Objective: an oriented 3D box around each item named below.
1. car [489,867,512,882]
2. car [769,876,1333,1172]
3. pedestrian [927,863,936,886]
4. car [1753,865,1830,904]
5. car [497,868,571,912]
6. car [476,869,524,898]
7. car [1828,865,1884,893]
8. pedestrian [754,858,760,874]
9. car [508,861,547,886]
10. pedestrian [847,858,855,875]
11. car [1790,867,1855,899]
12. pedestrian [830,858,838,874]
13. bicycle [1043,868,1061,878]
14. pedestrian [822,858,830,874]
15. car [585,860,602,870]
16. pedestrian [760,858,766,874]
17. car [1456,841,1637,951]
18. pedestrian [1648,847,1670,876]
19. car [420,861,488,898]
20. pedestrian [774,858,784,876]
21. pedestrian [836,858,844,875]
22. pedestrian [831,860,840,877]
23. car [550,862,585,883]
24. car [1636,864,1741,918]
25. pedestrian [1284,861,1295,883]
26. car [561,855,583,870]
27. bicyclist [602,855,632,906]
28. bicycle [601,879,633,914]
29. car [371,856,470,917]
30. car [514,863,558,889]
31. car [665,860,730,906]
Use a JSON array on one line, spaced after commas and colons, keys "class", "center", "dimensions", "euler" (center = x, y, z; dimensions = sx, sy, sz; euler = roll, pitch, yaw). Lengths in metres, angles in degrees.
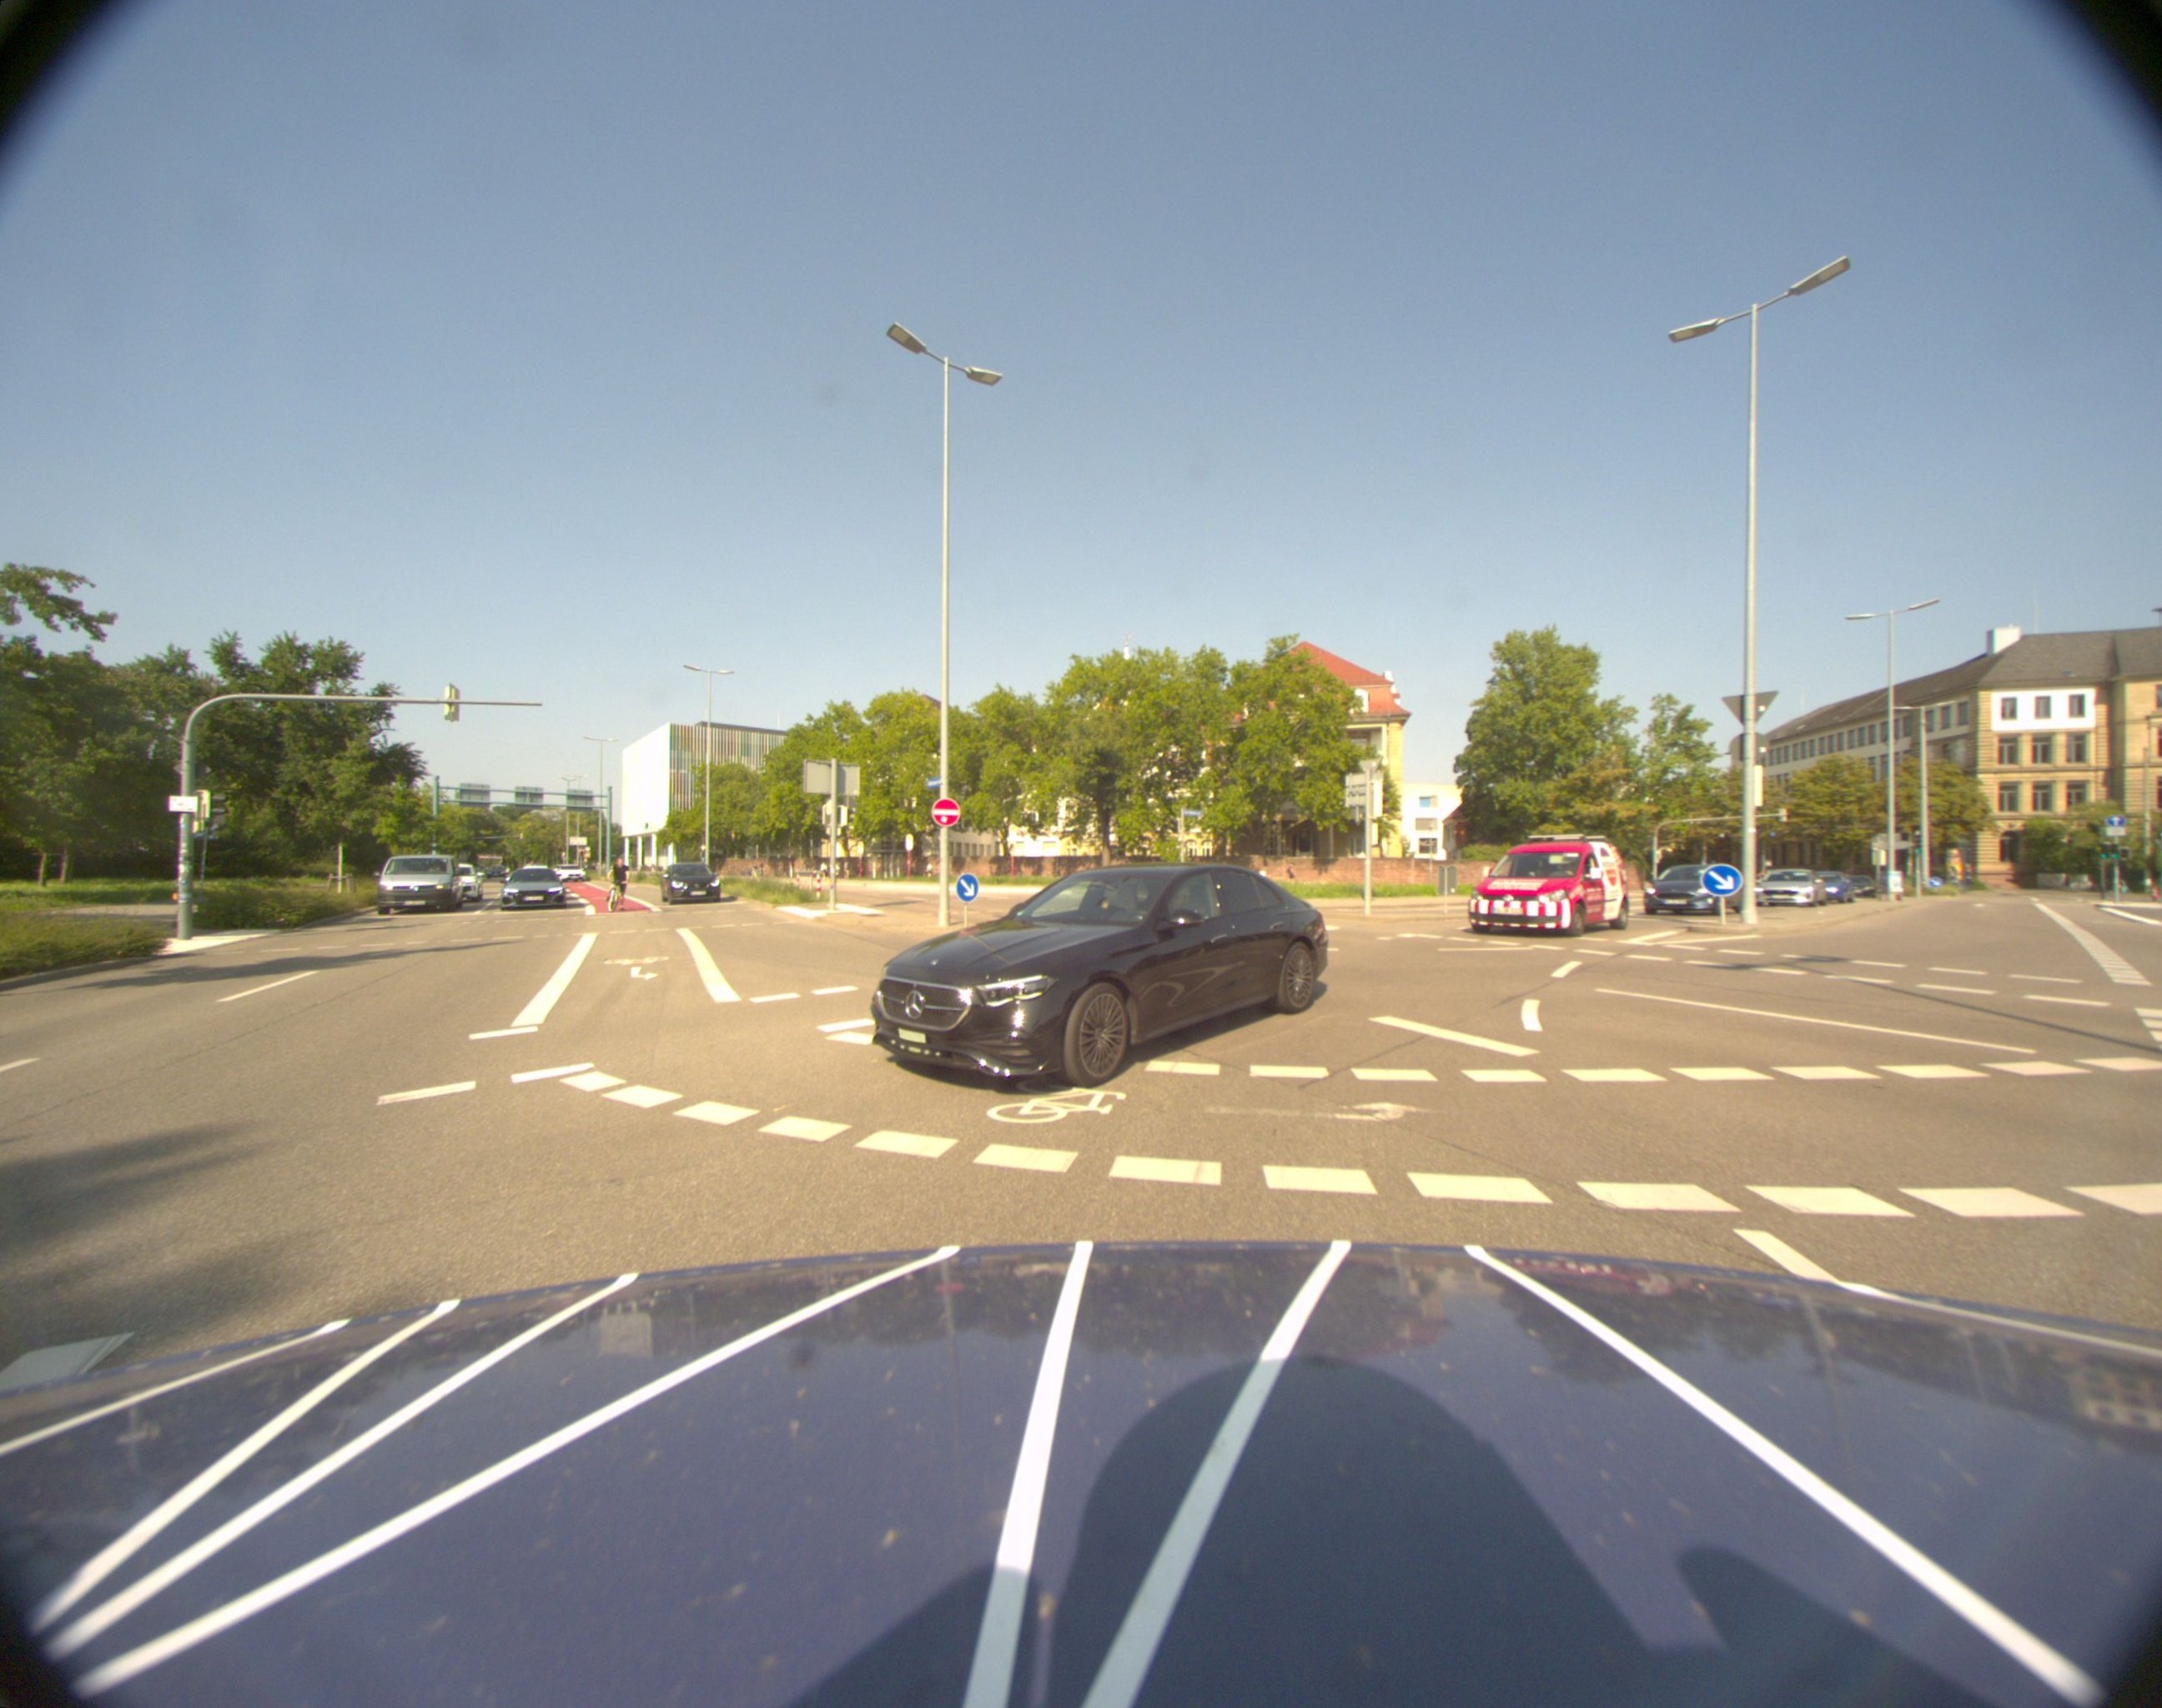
[{"class": "car", "center": [-67.156, 2.299, 87.847], "dimensions": [1.937, 1.650, 4.283], "euler": [1, -1, -39]}, {"class": "car", "center": [0.196, 0.954, 6.368], "dimensions": [1.820, 1.431, 4.884], "euler": [0, 0, 42]}, {"class": "pedestrian", "center": [-13.810, 1.868, 70.401], "dimensions": [0.593, 2.092, 0.521], "euler": [-2, -2, 34]}, {"class": "car", "center": [27.512, 1.133, 29.382], "dimensions": [3.868, 1.425, 1.716], "euler": [1, -1, -40]}, {"class": "car", "center": [-19.697, 1.244, 27.529], "dimensions": [1.915, 1.392, 4.908], "euler": [0, 0, -33]}, {"class": "car", "center": [-32.310, 1.585, 42.330], "dimensions": [2.004, 1.497, 4.423], "euler": [1, -1, -36]}, {"class": "car", "center": [46.824, 1.474, 45.905], "dimensions": [4.008, 1.543, 1.994], "euler": [0, 0, -39]}, {"class": "pedestrian", "center": [-35.575, 1.284, 83.464], "dimensions": [0.487, 1.729, 0.504], "euler": [1, -3, -41]}, {"class": "car", "center": [-38.214, 1.334, 52.441], "dimensions": [1.937, 1.650, 4.283], "euler": [1, -1, -39]}, {"class": "pedestrian", "center": [-23.025, 1.283, 76.136], "dimensions": [0.593, 1.641, 0.484], "euler": [-3, -2, 34]}, {"class": "car", "center": [33.317, 1.244, 34.090], "dimensions": [4.342, 1.321, 1.603], "euler": [1, -1, -39]}, {"class": "pedestrian", "center": [-25.302, 1.262, 77.877], "dimensions": [0.593, 1.641, 0.484], "euler": [-3, -2, 34]}, {"class": "bicycle", "center": [-2.468, 1.627, 65.244], "dimensions": [1.546, 0.830, 0.435], "euler": [0, 0, 26]}, {"class": "pedestrian", "center": [-25.828, 1.225, 76.997], "dimensions": [0.501, 1.561, 0.536], "euler": [-2, -2, 32]}, {"class": "car", "center": [-74.852, 1.722, 116.688], "dimensions": [1.715, 1.564, 3.989], "euler": [1, -1, -41]}, {"class": "pedestrian", "center": [-35.085, 1.290, 83.813], "dimensions": [0.487, 1.729, 0.504], "euler": [1, -3, -41]}, {"class": "car", "center": [8.985, 0.718, 14.518], "dimensions": [4.287, 1.808, 1.733], "euler": [1, -1, -41]}, {"class": "pedestrian", "center": [41.070, 0.557, 53.974], "dimensions": [0.909, 2.001, 0.820], "euler": [0, -2, -25]}, {"class": "car", "center": [-27.008, 1.048, 32.854], "dimensions": [1.814, 1.497, 3.958], "euler": [0, -1, -33]}, {"class": "pedestrian", "center": [-34.698, 1.505, 87.291], "dimensions": [0.930, 1.941, 0.743], "euler": [-3, -3, 43]}, {"class": "pedestrian", "center": [-23.912, 1.271, 75.457], "dimensions": [0.593, 1.641, 0.521], "euler": [-3, -2, 34]}, {"class": "pedestrian", "center": [-24.509, 1.429, 75.843], "dimensions": [0.593, 1.641, 0.521], "euler": [-3, -2, 34]}, {"class": "car", "center": [-42.051, 1.456, 62.182], "dimensions": [1.937, 1.650, 4.283], "euler": [1, -1, -39]}, {"class": "car", "center": [17.730, 1.013, 22.104], "dimensions": [4.331, 1.418, 1.636], "euler": [1, -1, -41]}, {"class": "pedestrian", "center": [15.698, 1.350, 57.144], "dimensions": [0.716, 1.673, 0.595], "euler": [0, 0, 20]}, {"class": "car", "center": [-75.498, 1.264, 112.711], "dimensions": [3.990, 2.001, 1.924], "euler": [-4, -3, 44]}, {"class": "bicyclist", "center": [-15.075, 0.860, 24.672], "dimensions": [0.750, 1.625, 0.873], "euler": [1, 0, -35]}, {"class": "bicycle", "center": [-15.079, 1.356, 24.671], "dimensions": [0.772, 1.046, 1.770], "euler": [1, 0, -35]}, {"class": "car", "center": [-22.266, 1.030, 25.795], "dimensions": [1.850, 1.864, 4.961], "euler": [0, -1, -33]}, {"class": "car", "center": [-34.275, 1.346, 47.745], "dimensions": [1.937, 1.497, 4.283], "euler": [1, -1, -39]}, {"class": "car", "center": [-14.952, 1.059, 29.489], "dimensions": [1.857, 1.569, 4.703], "euler": [-1, 0, -32]}]
